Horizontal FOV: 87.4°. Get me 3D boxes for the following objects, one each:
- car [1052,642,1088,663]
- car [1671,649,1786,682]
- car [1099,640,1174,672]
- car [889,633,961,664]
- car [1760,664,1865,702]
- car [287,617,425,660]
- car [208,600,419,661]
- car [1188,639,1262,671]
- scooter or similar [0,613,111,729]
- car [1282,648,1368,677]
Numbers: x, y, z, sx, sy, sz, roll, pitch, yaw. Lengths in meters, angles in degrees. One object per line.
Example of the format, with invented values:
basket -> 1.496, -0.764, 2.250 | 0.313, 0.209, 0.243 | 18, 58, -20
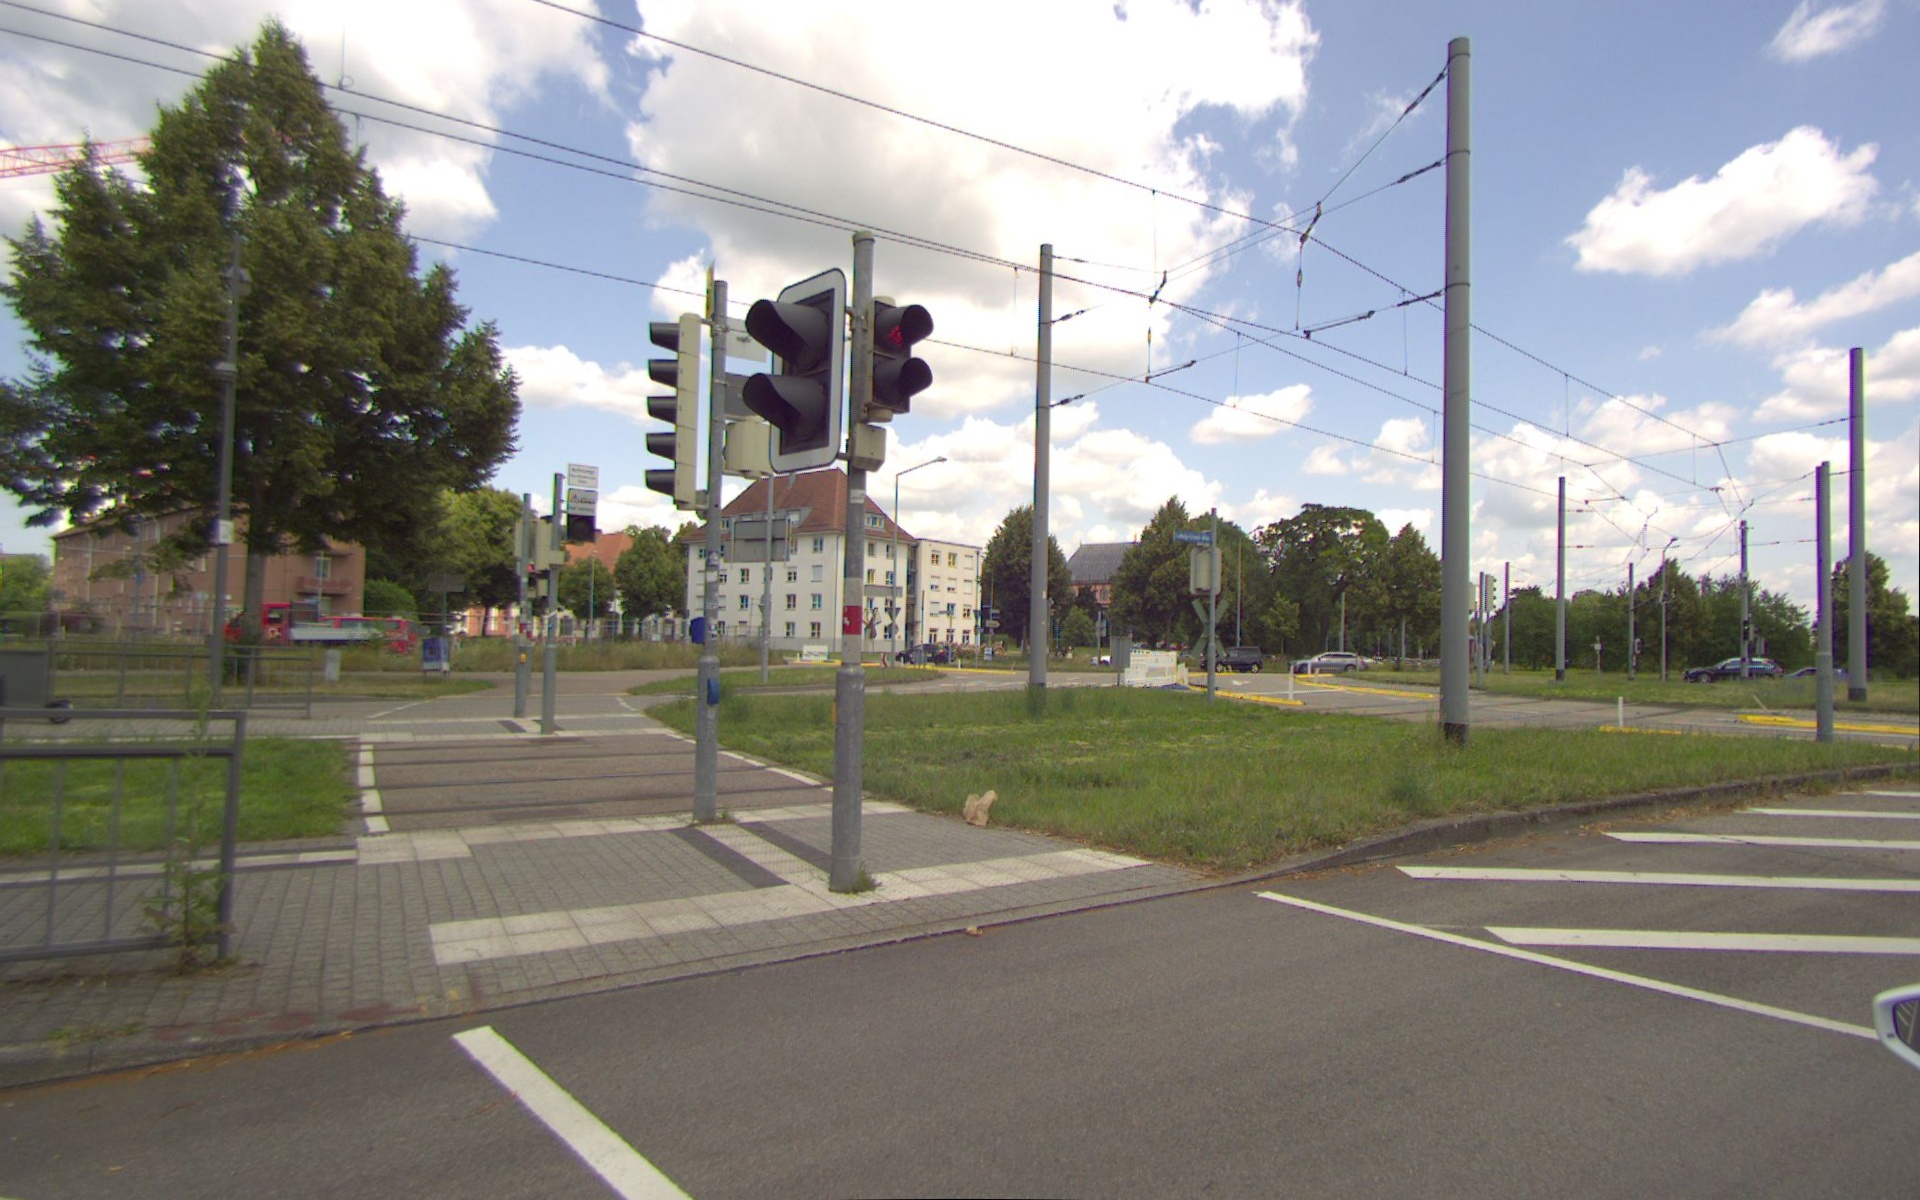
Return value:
car -> 10.804, 5.174, 98.753 | 1.966, 2.040, 3.991 | 0, -3, 33
car -> 44.048, 3.732, 57.718 | 4.977, 1.697, 1.998 | 0, -2, 28
car -> 11.648, 3.689, 66.459 | 4.633, 2.040, 2.000 | 1, -2, -1
car -> -2.420, 3.366, 70.015 | 4.631, 2.040, 2.001 | 1, -2, 17
car -> 53.134, 5.162, 62.734 | 4.641, 1.815, 1.845 | 3, 4, 30
car -> -28.336, 1.808, 47.307 | 5.095, 1.876, 2.083 | 2, -2, -13
car -> -26.008, 1.250, 40.687 | 6.713, 2.226, 2.392 | 2, -2, -8
car -> 18.011, 3.725, 68.227 | 4.658, 2.040, 1.990 | 2, -2, -23
scooter or similar -> -11.270, 0.848, 12.203 | 1.322, 1.319, 0.418 | 4, -2, -12
car -> 23.792, 4.066, 65.617 | 4.845, 1.648, 2.067 | 1, 0, 1
